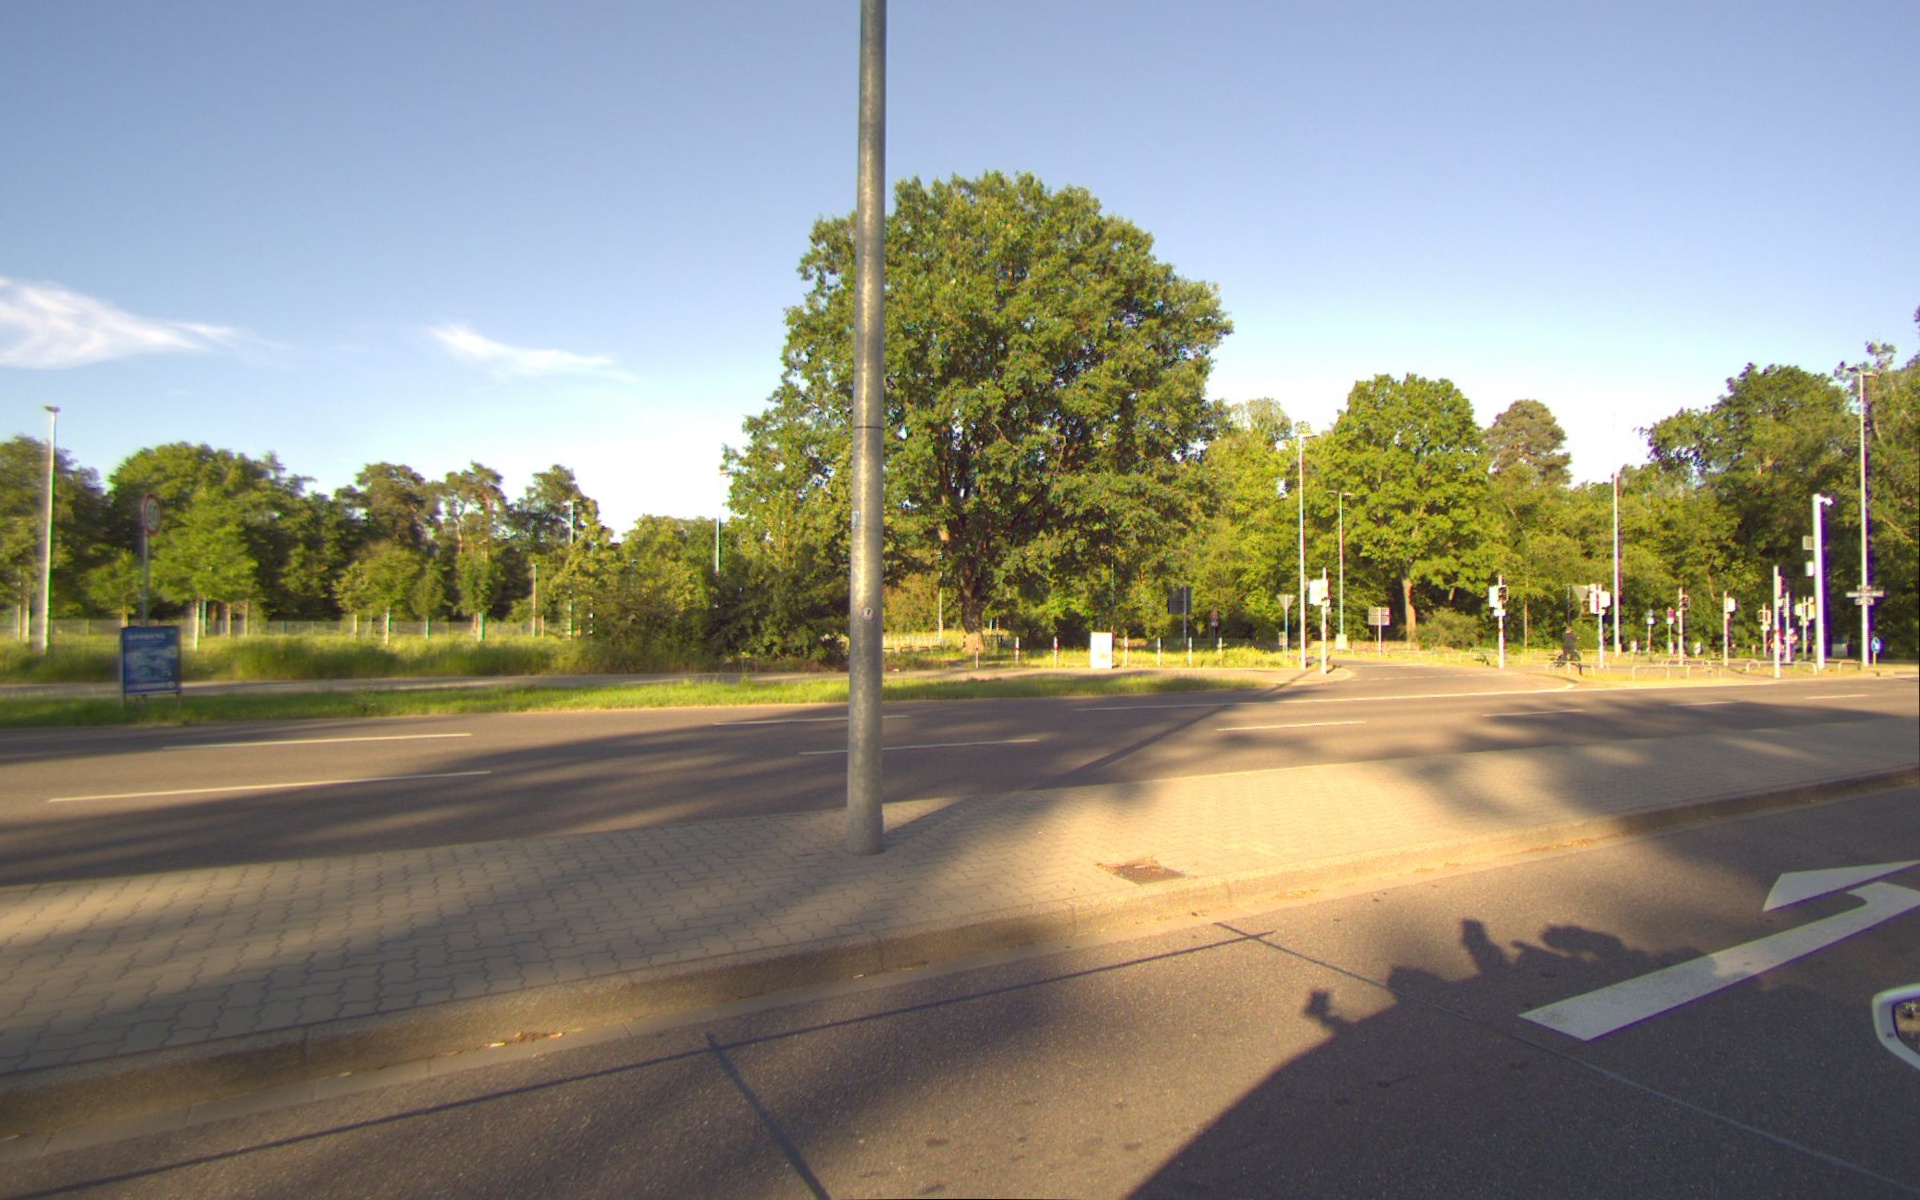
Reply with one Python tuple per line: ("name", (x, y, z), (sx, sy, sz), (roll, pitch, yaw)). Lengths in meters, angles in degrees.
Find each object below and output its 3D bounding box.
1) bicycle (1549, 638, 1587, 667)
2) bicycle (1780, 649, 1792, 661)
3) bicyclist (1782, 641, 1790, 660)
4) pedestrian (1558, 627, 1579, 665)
("bicycle", (25.795, 2.221, 42.586), (1.980, 1.193, 0.466), (2, 0, -31))
("bicycle", (44.202, 2.942, 53.767), (0.831, 0.589, 0.264), (2, 0, -36))
("bicyclist", (44.251, 2.691, 53.804), (0.238, 0.975, 0.271), (2, 0, -37))
("pedestrian", (25.803, 1.955, 42.599), (0.641, 1.583, 0.479), (2, 0, -30))
